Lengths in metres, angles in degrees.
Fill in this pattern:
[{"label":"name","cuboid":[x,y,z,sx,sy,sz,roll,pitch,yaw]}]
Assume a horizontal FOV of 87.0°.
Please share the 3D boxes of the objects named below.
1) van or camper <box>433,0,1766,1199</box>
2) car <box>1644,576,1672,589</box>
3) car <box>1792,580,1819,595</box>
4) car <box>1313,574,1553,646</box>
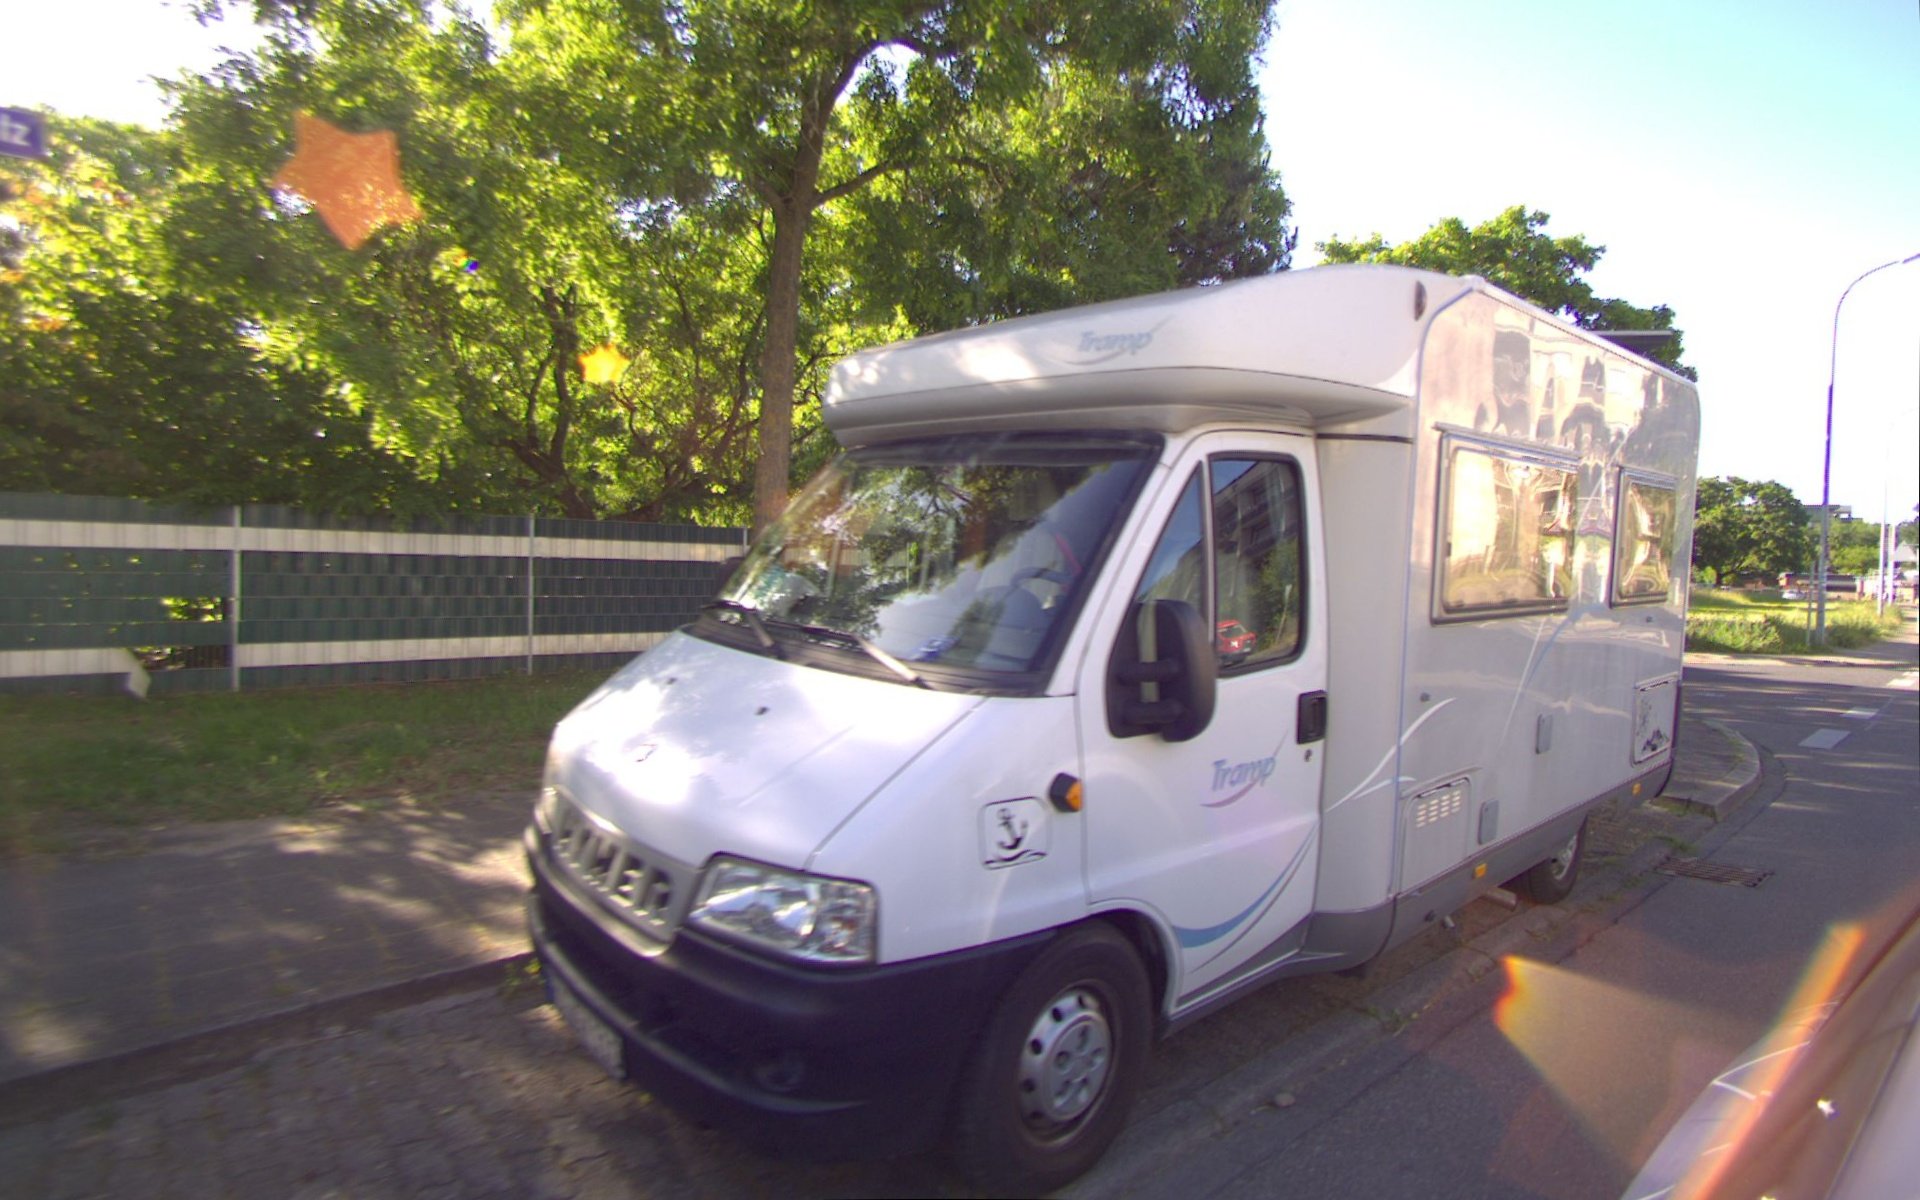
[{"label":"van or camper","cuboid":[1.378,0.007,4.621,6.314,2.627,2.357,0,6,-42]},{"label":"car","cuboid":[102.895,-2.553,149.143,3.923,1.794,1.959,-2,4,-33]},{"label":"car","cuboid":[111.964,-1.598,134.025,3.928,1.882,1.956,0,3,-39]},{"label":"car","cuboid":[10.162,0.174,22.061,1.714,1.354,4.437,2,1,-38]}]
